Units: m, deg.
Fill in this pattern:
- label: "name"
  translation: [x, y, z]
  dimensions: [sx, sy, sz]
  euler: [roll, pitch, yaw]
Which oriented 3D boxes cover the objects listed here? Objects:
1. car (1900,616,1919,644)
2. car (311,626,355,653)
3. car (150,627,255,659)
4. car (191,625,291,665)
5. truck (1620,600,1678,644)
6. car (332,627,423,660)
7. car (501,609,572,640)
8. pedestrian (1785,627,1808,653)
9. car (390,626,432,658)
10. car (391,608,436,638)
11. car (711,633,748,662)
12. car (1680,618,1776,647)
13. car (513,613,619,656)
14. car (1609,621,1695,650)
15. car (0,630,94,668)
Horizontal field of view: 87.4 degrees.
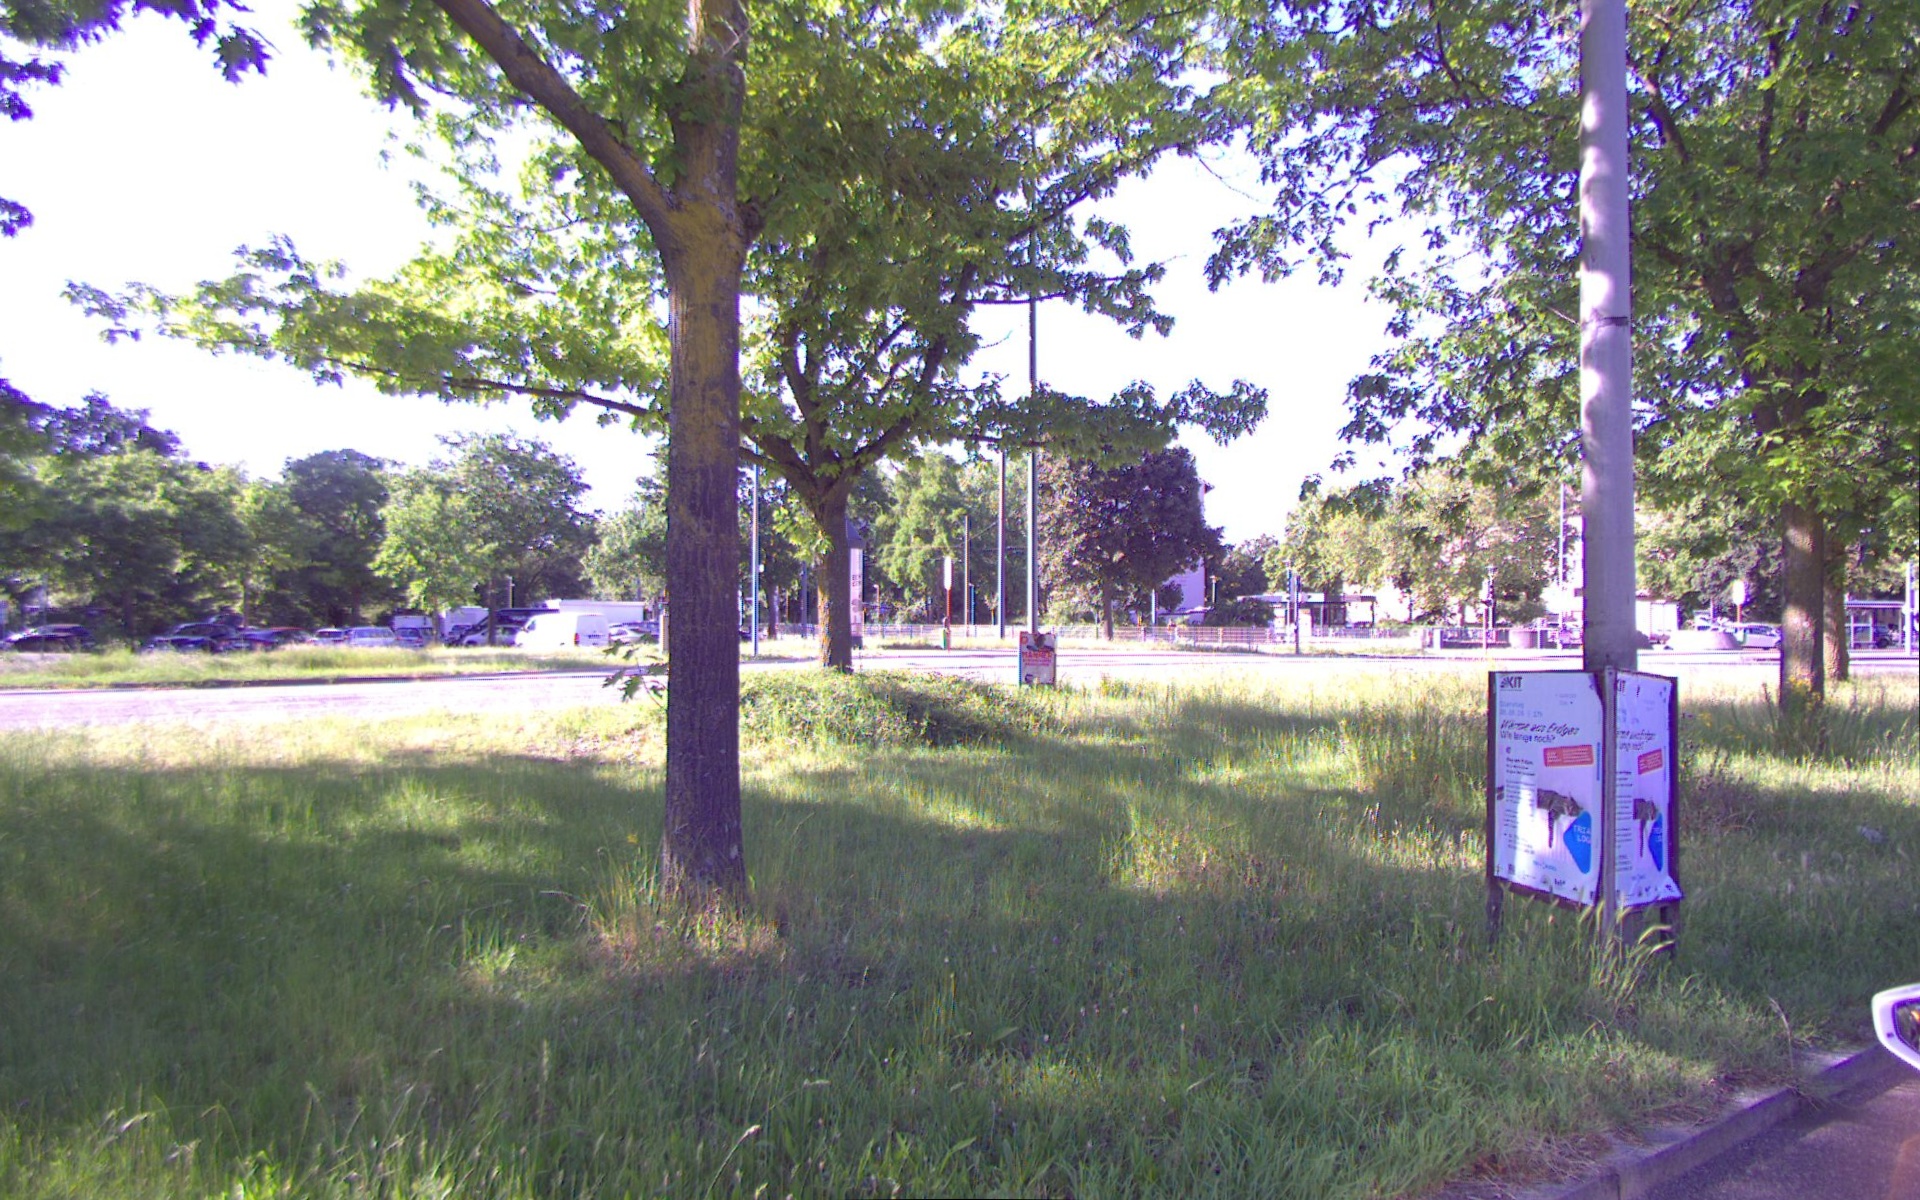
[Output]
- label: "car"
  translation: [71.685, 2.213, 73.298]
  dimensions: [1.910, 2.040, 4.155]
  euler: [1, -1, -31]
- label: "car"
  translation: [-29.288, 1.815, 46.874]
  dimensions: [1.603, 1.194, 3.047]
  euler: [1, -1, -35]
- label: "car"
  translation: [-26.837, 1.495, 35.638]
  dimensions: [1.315, 1.078, 2.777]
  euler: [0, -1, 42]
- label: "car"
  translation: [-25.227, 1.554, 35.253]
  dimensions: [2.769, 1.323, 1.326]
  euler: [1, -1, -40]
- label: "truck"
  translation: [46.649, 1.474, 68.094]
  dimensions: [1.960, 2.842, 4.002]
  euler: [0, -1, 15]
- label: "car"
  translation: [-21.820, 1.625, 37.643]
  dimensions: [2.769, 1.171, 1.326]
  euler: [1, -1, -40]
- label: "car"
  translation: [-24.123, 1.403, 57.298]
  dimensions: [3.698, 1.691, 1.883]
  euler: [1, -1, -23]
- label: "pedestrian"
  translation: [53.717, 2.548, 64.533]
  dimensions: [0.781, 1.629, 0.923]
  euler: [0, -1, 9]
- label: "car"
  translation: [-26.695, 2.019, 48.788]
  dimensions: [1.602, 1.438, 3.050]
  euler: [1, -1, -33]
- label: "car"
  translation: [-32.481, 1.354, 59.796]
  dimensions: [1.865, 1.691, 3.733]
  euler: [1, -1, -22]
- label: "car"
  translation: [-12.024, 2.445, 52.496]
  dimensions: [1.589, 1.438, 3.073]
  euler: [0, -1, -8]
- label: "car"
  translation: [46.914, 1.961, 61.469]
  dimensions: [4.233, 1.706, 2.001]
  euler: [0, -1, 9]
- label: "car"
  translation: [-17.212, 1.466, 43.809]
  dimensions: [4.670, 1.762, 2.024]
  euler: [0, -1, 34]
- label: "car"
  translation: [42.881, 2.191, 62.340]
  dimensions: [3.919, 1.706, 2.001]
  euler: [0, -1, 9]
- label: "car"
  translation: [-47.652, 2.485, 51.915]
  dimensions: [1.966, 1.817, 3.990]
  euler: [0, -1, 32]
